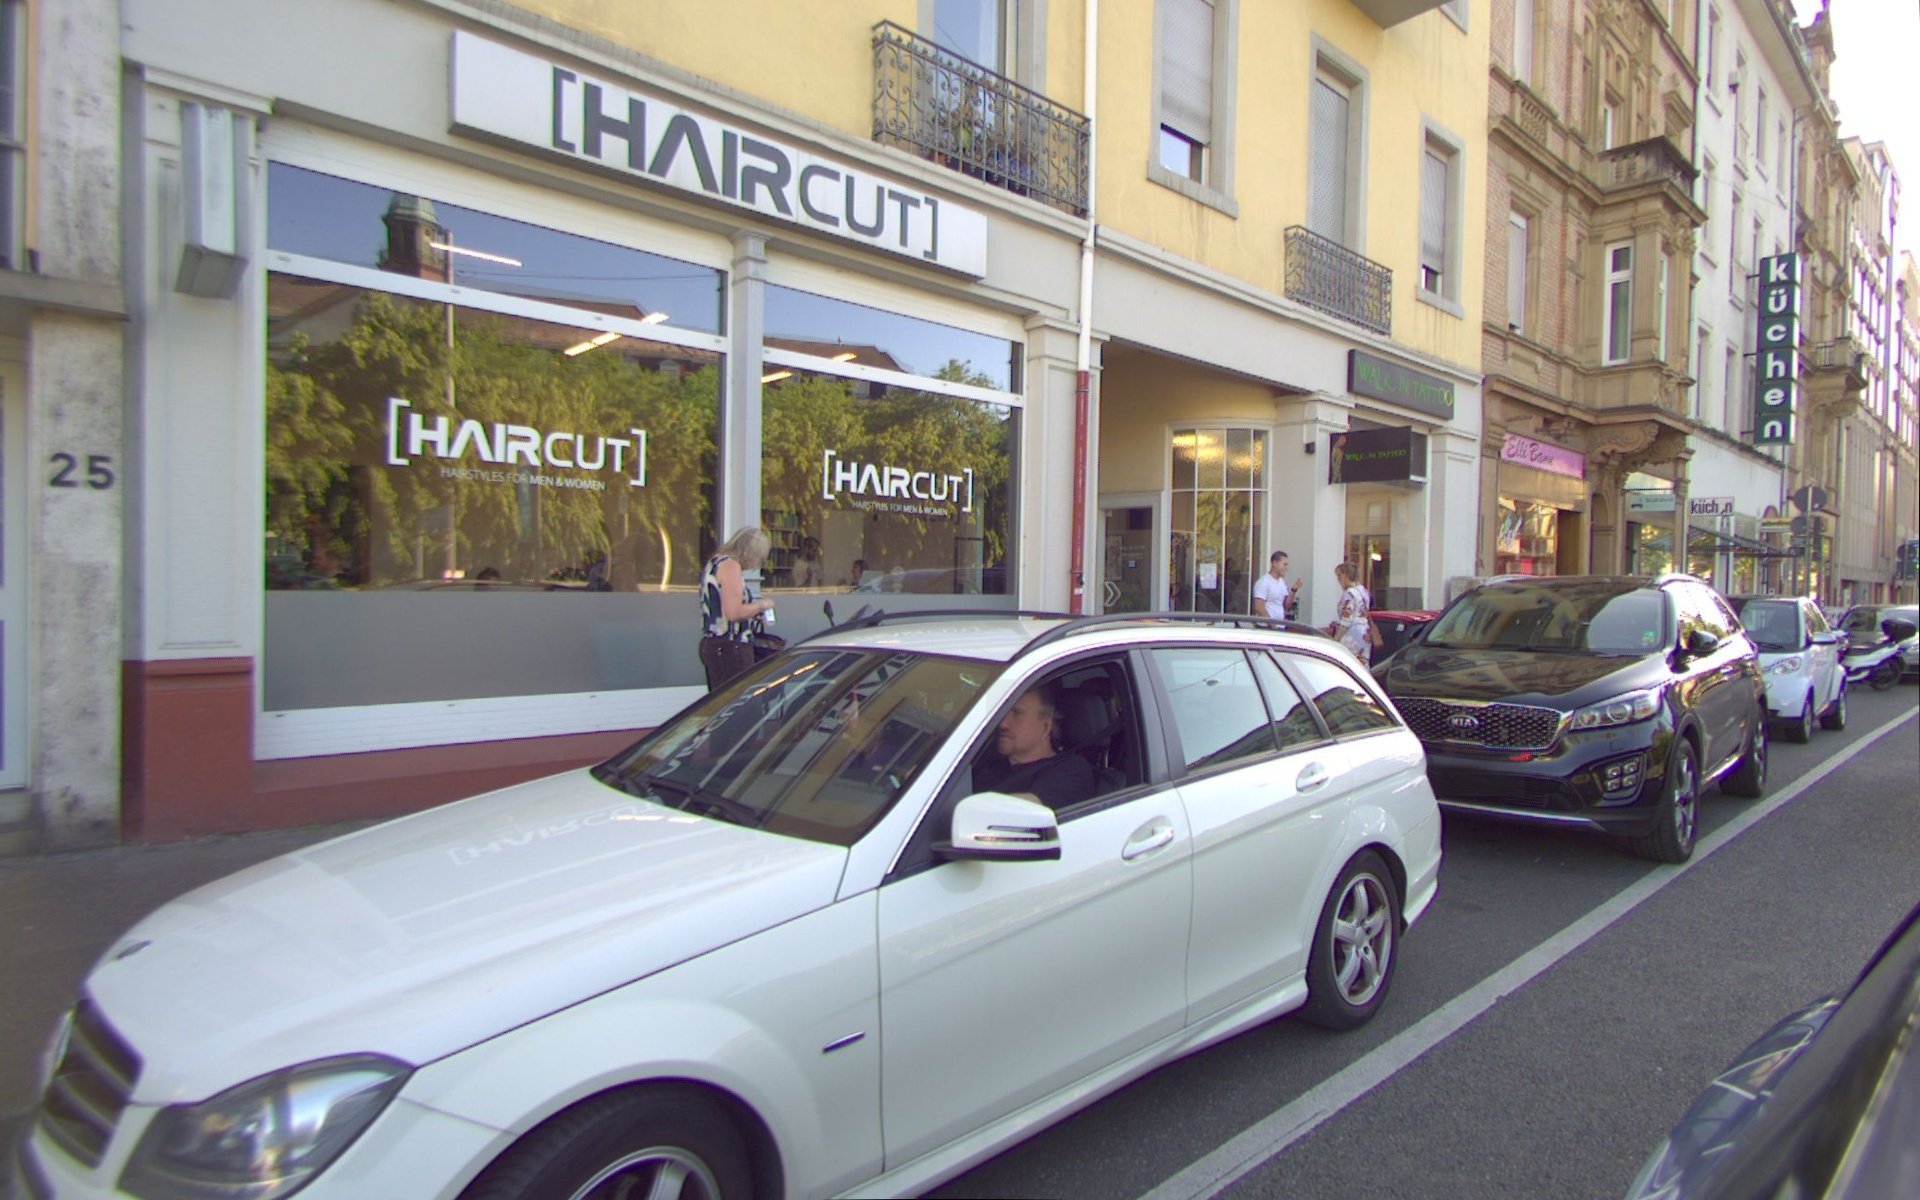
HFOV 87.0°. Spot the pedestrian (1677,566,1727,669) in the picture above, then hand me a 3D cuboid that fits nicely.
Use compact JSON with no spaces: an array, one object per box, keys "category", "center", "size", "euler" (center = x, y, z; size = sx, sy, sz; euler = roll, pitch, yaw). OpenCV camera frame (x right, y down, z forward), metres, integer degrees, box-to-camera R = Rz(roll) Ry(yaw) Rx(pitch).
[{"category":"pedestrian","center":[12.017,0.276,16.401],"size":[0.504,1.653,0.415],"euler":[0,0,-14]}]

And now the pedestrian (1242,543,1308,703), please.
[{"category":"pedestrian","center":[3.381,0.244,10.874],"size":[0.513,1.681,0.339],"euler":[1,1,-17]}]

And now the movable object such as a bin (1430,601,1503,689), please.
[{"category":"movable object such as a bin","center":[6.643,0.569,13.277],"size":[0.608,1.079,0.606],"euler":[0,3,-41]}]

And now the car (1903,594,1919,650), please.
[{"category":"car","center":[26.254,0.562,26.627],"size":[3.736,1.435,1.736],"euler":[0,1,-41]}]

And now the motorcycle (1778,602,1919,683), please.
[{"category":"motorcycle","center":[15.446,0.711,17.276],"size":[2.137,1.295,0.866],"euler":[1,0,8]}]

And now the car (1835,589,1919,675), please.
[{"category":"car","center":[18.626,0.570,19.904],"size":[4.096,1.537,1.735],"euler":[0,1,-43]}]

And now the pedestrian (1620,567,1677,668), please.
[{"category":"pedestrian","center":[11.480,0.287,16.879],"size":[0.453,1.653,0.620],"euler":[0,0,-15]}]

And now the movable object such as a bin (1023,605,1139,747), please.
[{"category":"movable object such as a bin","center":[0.981,0.588,8.275],"size":[0.608,1.054,0.662],"euler":[1,3,-38]}]

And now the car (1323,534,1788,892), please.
[{"category":"car","center":[4.445,0.531,7.189],"size":[4.498,1.758,1.756],"euler":[0,1,-45]}]

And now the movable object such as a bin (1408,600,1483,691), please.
[{"category":"movable object such as a bin","center":[6.171,0.561,12.871],"size":[0.608,1.079,0.606],"euler":[0,3,-41]}]

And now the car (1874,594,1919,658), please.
[{"category":"car","center":[22.955,0.582,23.796],"size":[3.736,1.435,1.736],"euler":[0,1,-41]}]

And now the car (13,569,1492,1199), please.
[{"category":"car","center":[-0.046,0.675,3.307],"size":[4.387,1.465,1.741],"euler":[0,1,-42]}]

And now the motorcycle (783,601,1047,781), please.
[{"category":"motorcycle","center":[-0.268,0.576,7.262],"size":[1.975,1.105,0.551],"euler":[0,2,-42]}]

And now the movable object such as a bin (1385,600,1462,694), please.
[{"category":"movable object such as a bin","center":[5.713,0.566,12.479],"size":[0.608,1.079,0.606],"euler":[0,3,-41]}]

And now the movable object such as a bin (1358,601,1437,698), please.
[{"category":"movable object such as a bin","center":[5.222,0.571,12.074],"size":[0.608,1.079,0.606],"euler":[0,3,-41]}]

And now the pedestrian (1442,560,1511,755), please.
[{"category":"pedestrian","center":[4.889,0.523,9.579],"size":[0.473,1.785,0.434],"euler":[0,0,-40]}]

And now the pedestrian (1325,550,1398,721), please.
[{"category":"pedestrian","center":[4.094,0.344,10.342],"size":[0.584,1.681,0.449],"euler":[2,1,15]}]

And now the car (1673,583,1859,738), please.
[{"category":"car","center":[9.168,0.586,11.460],"size":[2.748,1.537,1.273],"euler":[0,1,-43]}]

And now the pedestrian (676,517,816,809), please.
[{"category":"pedestrian","center":[-1.309,0.343,6.155],"size":[0.523,1.653,0.697],"euler":[0,2,-42]}]

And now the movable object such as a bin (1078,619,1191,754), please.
[{"category":"movable object such as a bin","center":[1.489,0.715,8.668],"size":[0.608,1.037,0.669],"euler":[1,3,-38]}]
